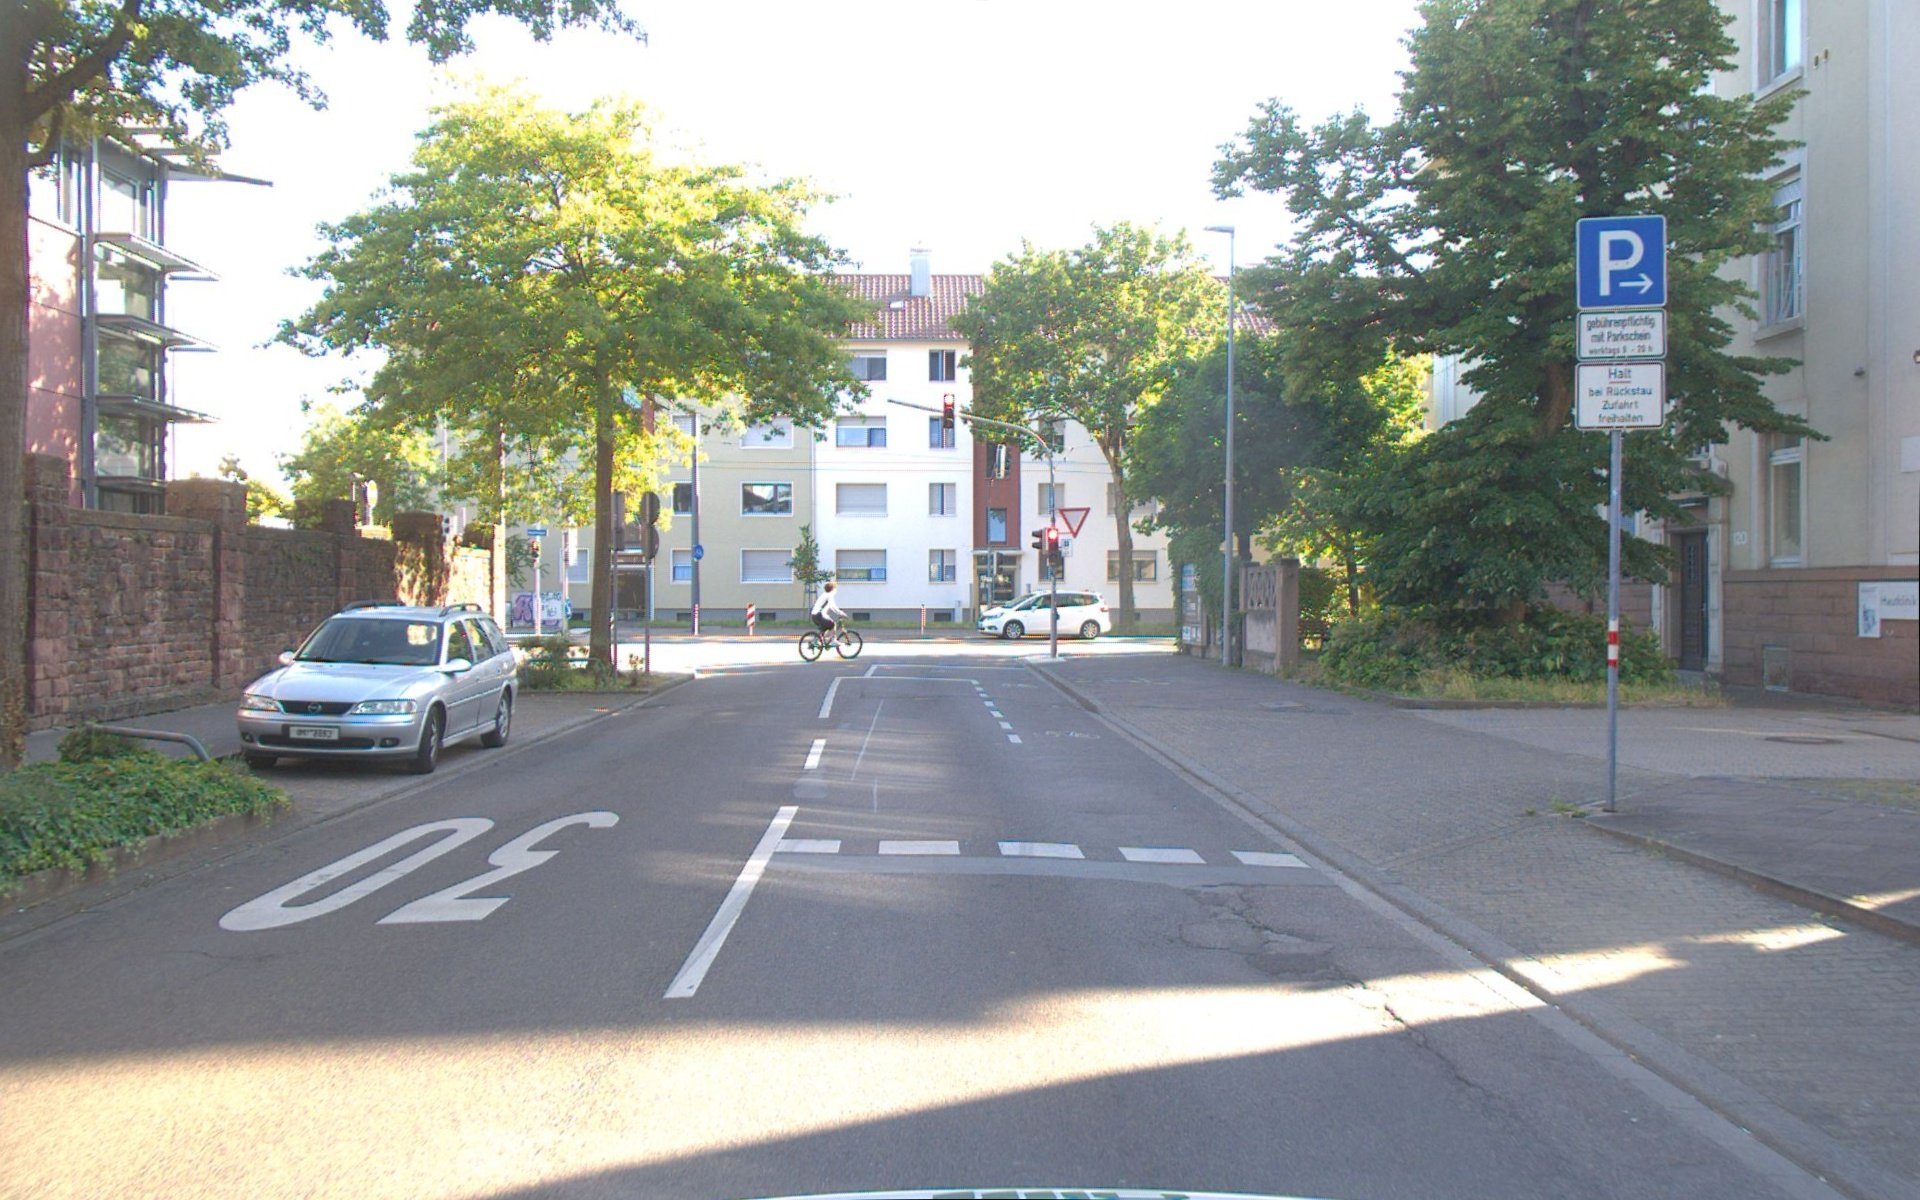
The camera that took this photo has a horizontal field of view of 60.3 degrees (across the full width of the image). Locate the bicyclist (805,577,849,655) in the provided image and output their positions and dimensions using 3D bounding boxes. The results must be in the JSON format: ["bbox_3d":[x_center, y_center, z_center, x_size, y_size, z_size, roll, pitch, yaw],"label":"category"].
[{"bbox_3d":[-3.092,0.365,38.362,0.602,1.788,0.783,-1,0,45],"label":"bicyclist"}]

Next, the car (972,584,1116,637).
[{"bbox_3d":[2.856,0.337,56.672,4.582,1.770,1.993,0,0,-14],"label":"car"}]

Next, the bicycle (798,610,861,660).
[{"bbox_3d":[-3.027,0.799,38.412,0.345,1.099,1.678,0,0,43],"label":"bicycle"}]

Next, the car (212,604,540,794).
[{"bbox_3d":[-5.454,0.836,16.073,1.691,1.501,4.476,2,0,-2],"label":"car"}]
